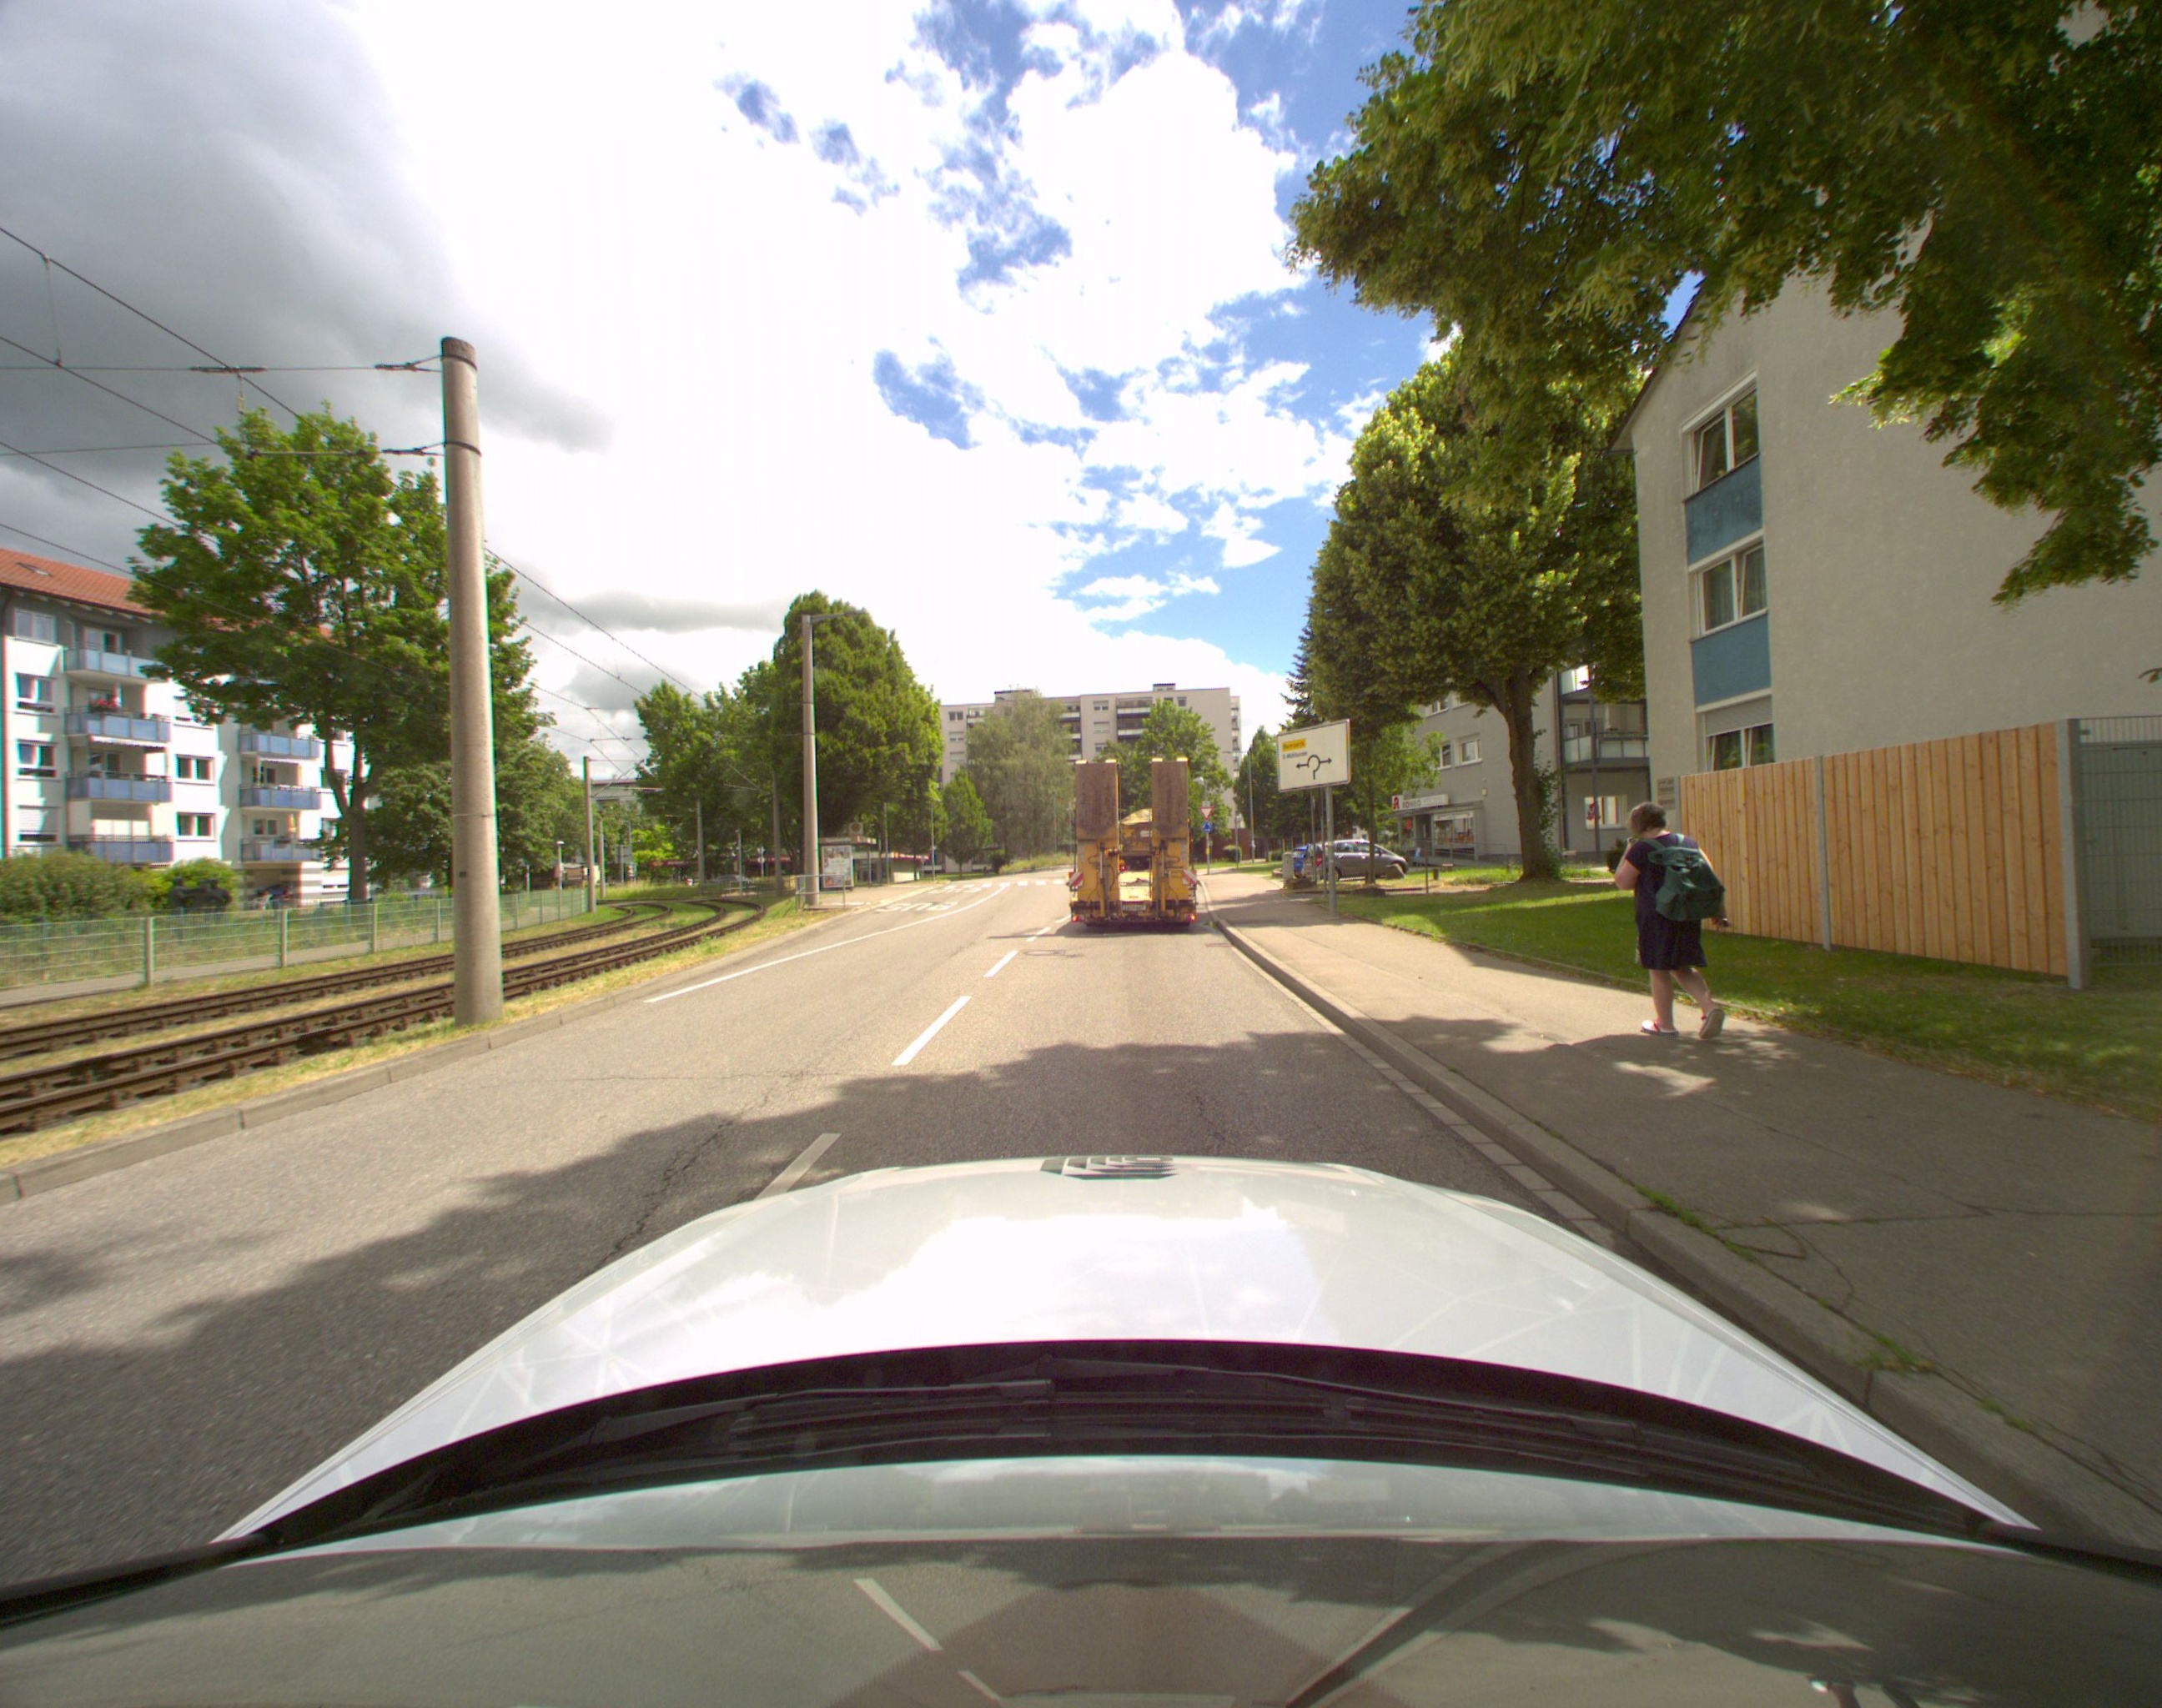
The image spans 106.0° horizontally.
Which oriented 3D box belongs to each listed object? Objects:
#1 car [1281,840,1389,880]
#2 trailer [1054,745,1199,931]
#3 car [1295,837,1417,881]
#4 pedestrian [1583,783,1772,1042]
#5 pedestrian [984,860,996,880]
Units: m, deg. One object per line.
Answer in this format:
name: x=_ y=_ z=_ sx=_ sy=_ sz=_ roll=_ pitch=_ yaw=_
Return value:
car: x=10.598 y=0.241 z=34.127 sx=3.988 sy=1.561 sz=1.753 roll=-1 pitch=0 yaw=-11
trailer: x=1.765 y=-0.297 z=22.226 sx=2.811 sy=3.646 sz=12.382 roll=-1 pitch=0 yaw=8
car: x=10.328 y=0.193 z=30.693 sx=3.988 sy=1.561 sz=1.753 roll=-1 pitch=0 yaw=-11
pedestrian: x=4.250 y=0.393 z=5.862 sx=0.715 sy=1.706 sz=0.766 roll=-3 pitch=0 yaw=1
pedestrian: x=-9.434 y=1.618 z=84.186 sx=0.913 sy=2.013 sz=0.953 roll=0 pitch=0 yaw=-29
